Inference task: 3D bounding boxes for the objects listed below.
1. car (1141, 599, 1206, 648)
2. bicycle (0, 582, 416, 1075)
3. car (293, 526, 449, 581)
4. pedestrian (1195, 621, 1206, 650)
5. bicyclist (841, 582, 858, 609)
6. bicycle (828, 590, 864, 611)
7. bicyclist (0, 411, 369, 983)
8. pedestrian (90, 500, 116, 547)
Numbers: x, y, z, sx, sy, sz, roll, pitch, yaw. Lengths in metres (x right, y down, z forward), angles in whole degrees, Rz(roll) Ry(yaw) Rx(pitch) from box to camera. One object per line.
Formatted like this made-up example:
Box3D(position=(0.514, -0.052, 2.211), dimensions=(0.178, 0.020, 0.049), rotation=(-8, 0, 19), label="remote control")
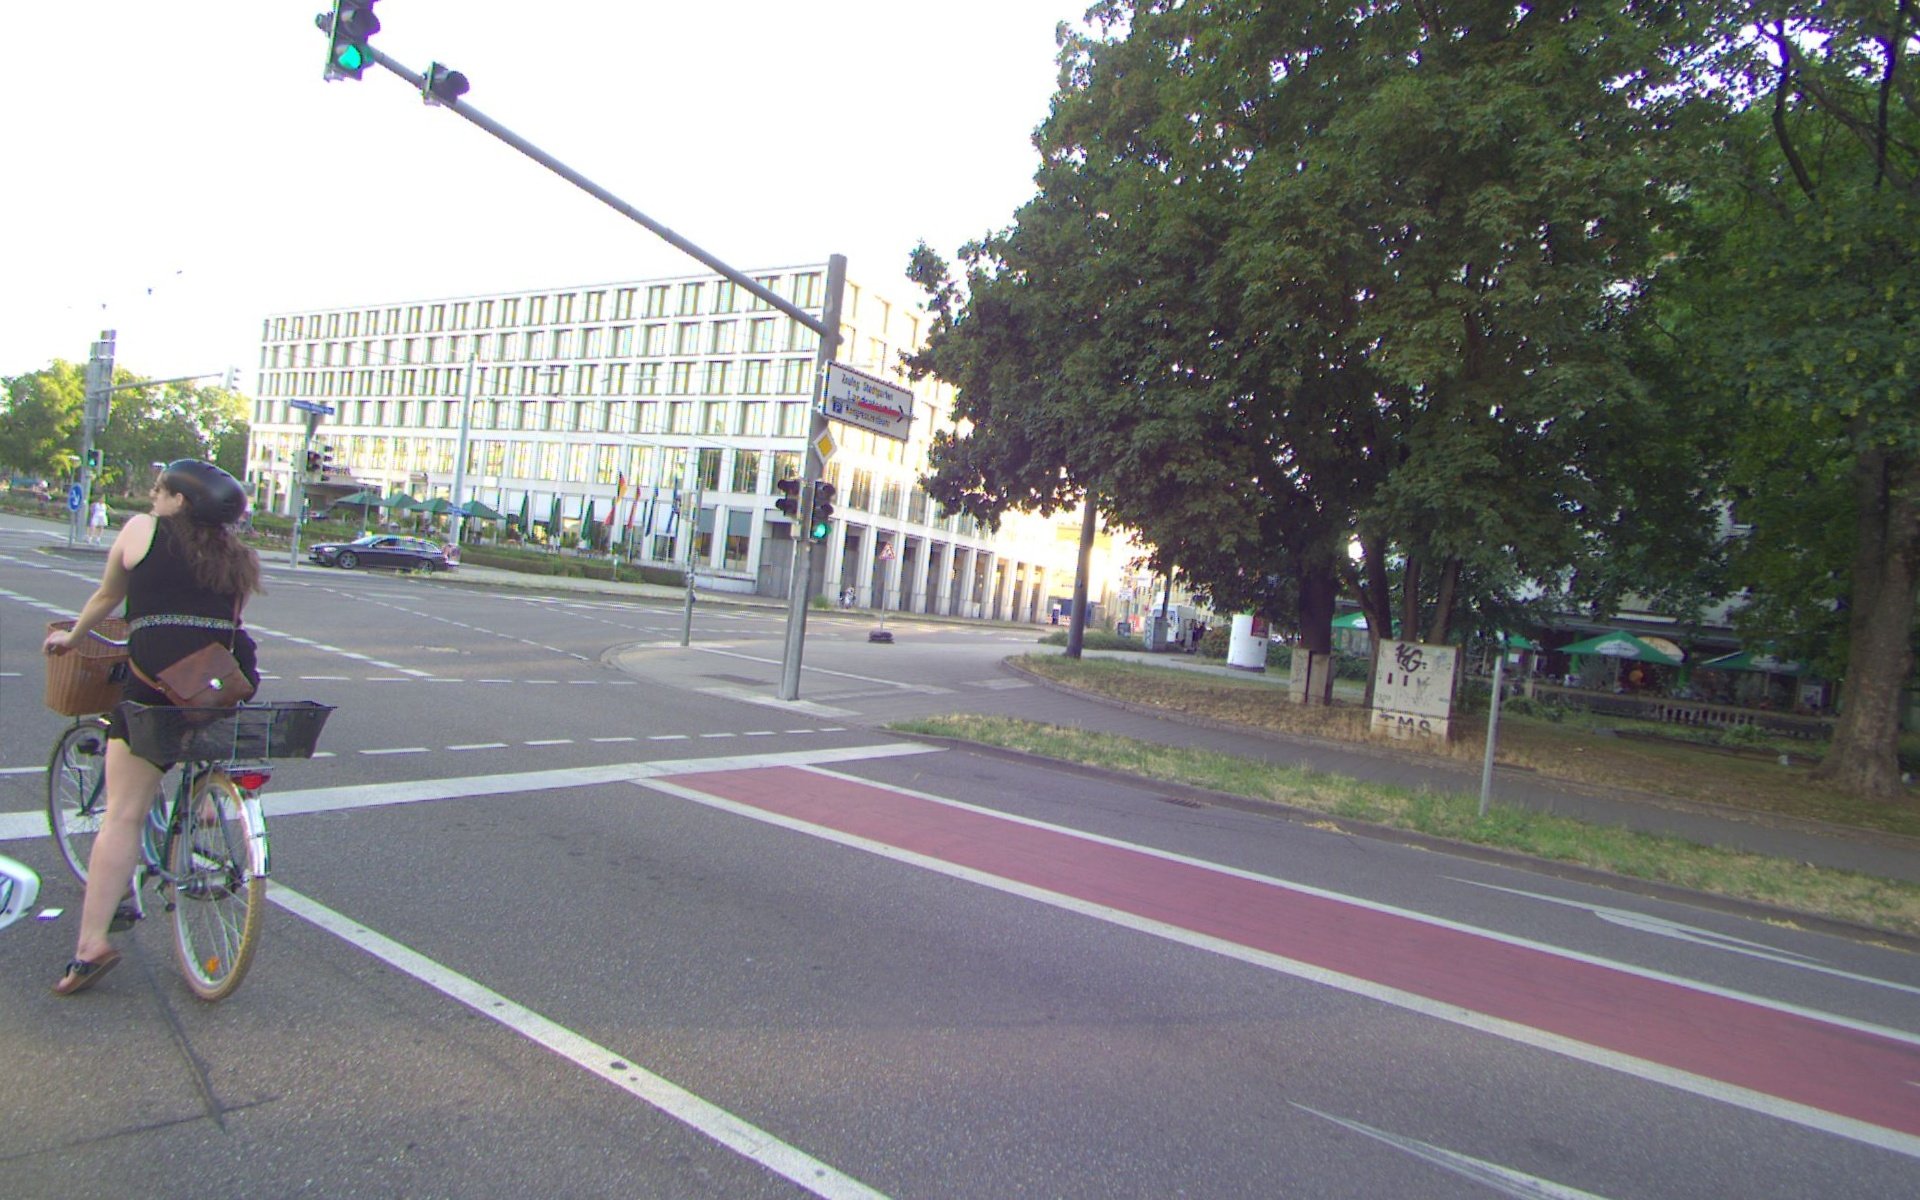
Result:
Box3D(position=(11.805, 1.339, 55.402), dimensions=(1.967, 2.318, 4.605), rotation=(6, 0, 31), label="car")
Box3D(position=(-2.778, 0.616, 3.438), dimensions=(1.971, 1.146, 0.612), rotation=(7, -1, 32), label="bicycle")
Box3D(position=(-22.999, -1.777, 39.469), dimensions=(1.968, 1.534, 4.826), rotation=(7, 0, 34), label="car")
Box3D(position=(13.319, 1.964, 55.713), dimensions=(0.302, 1.525, 0.336), rotation=(7, -1, 31), label="pedestrian")
Box3D(position=(-6.910, -0.281, 62.800), dimensions=(0.567, 1.556, 0.708), rotation=(7, 1, 29), label="bicyclist")
Box3D(position=(-7.067, 0.049, 62.582), dimensions=(0.592, 1.120, 2.775), rotation=(7, 0, 29), label="bicycle")
Box3D(position=(-2.671, 0.258, 3.405), dimensions=(0.982, 1.655, 0.600), rotation=(7, 0, 32), label="bicyclist")
Box3D(position=(-29.834, -2.662, 35.031), dimensions=(0.402, 1.559, 0.491), rotation=(7, 2, 31), label="pedestrian")
